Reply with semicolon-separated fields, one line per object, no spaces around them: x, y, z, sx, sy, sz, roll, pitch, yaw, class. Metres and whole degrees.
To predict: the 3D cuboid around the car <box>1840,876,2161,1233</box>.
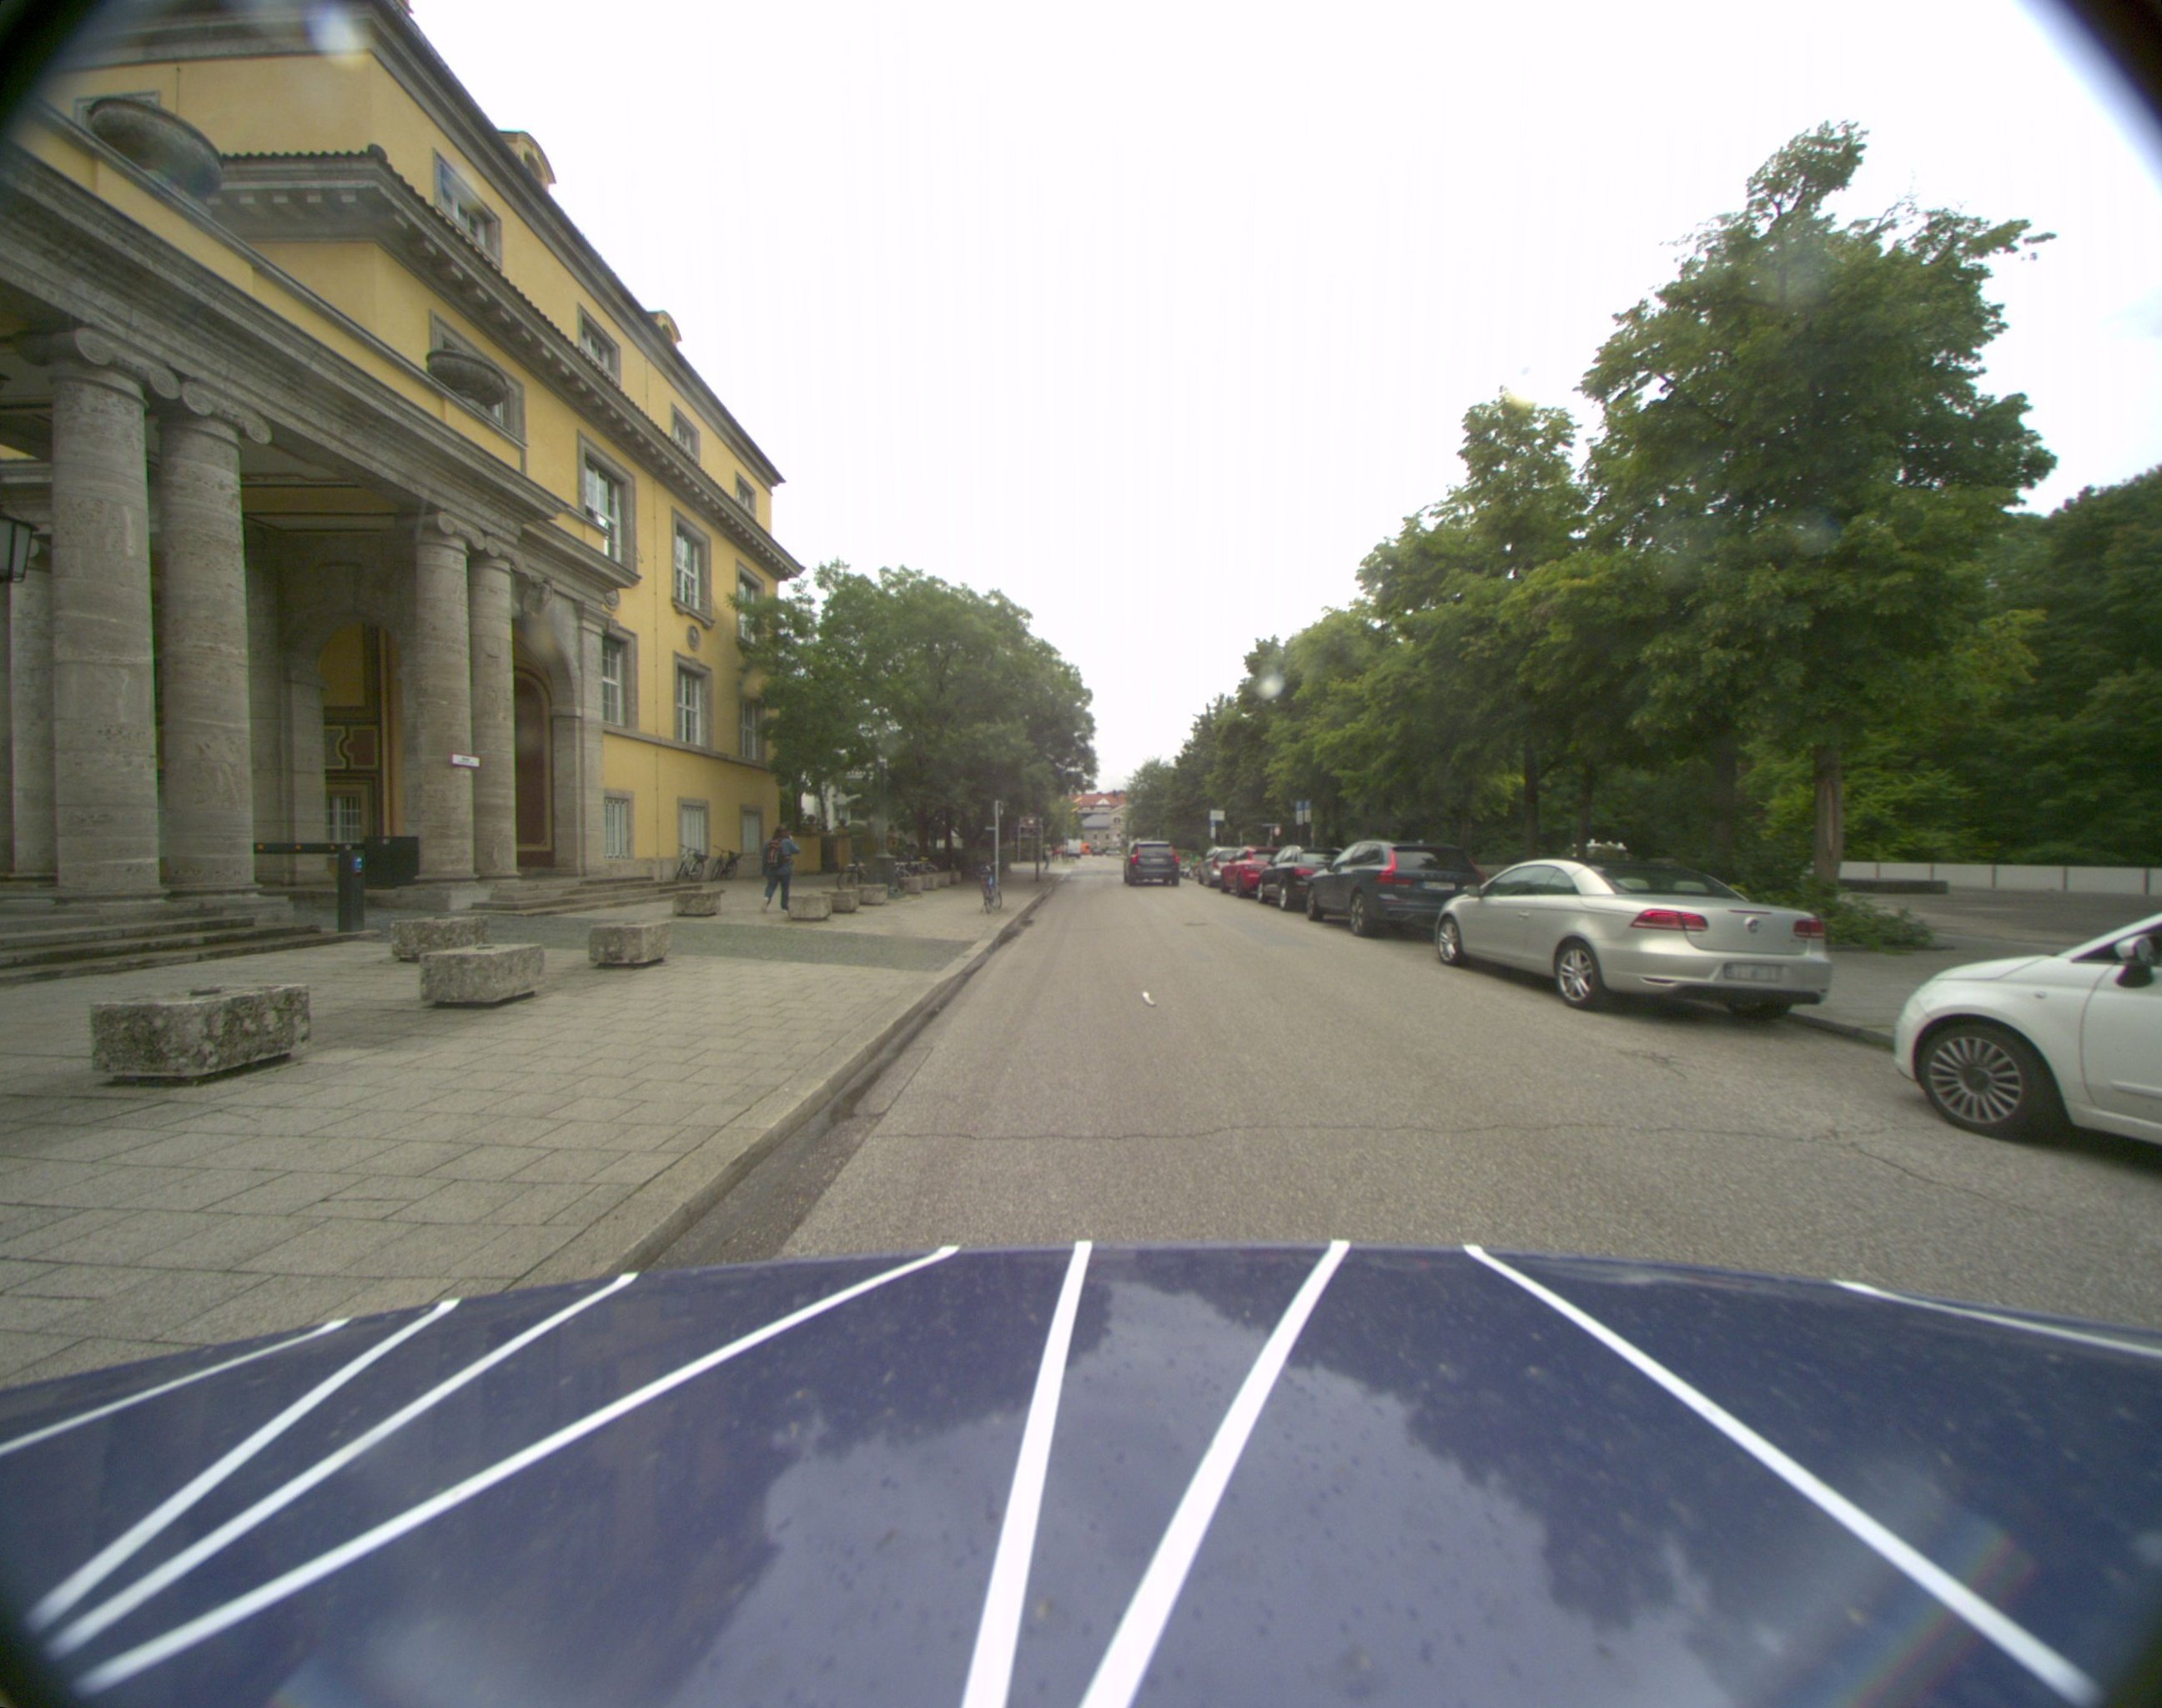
5.374;0.906;2.806;1.547;1.462;3.552;2;1;1;car

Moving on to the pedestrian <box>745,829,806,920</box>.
-6.072;0.388;15.164;0.790;1.736;1.055;1;1;0;pedestrian

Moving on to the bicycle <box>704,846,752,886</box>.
-11.996;0.385;25.879;0.601;1.299;2.164;1;1;1;bicycle

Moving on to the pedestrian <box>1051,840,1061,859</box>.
-2.421;-0.465;74.437;0.777;1.855;0.996;-3;2;-7;pedestrian

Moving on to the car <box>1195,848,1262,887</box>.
5.875;0.491;30.786;1.998;1.452;4.364;1;1;2;car

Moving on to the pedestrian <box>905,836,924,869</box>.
-9.573;-0.103;43.711;0.782;1.855;1.035;3;2;1;pedestrian

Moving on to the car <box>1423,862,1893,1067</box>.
5.392;0.876;7.976;1.762;1.392;4.217;3;1;2;car

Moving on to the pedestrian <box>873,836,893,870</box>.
-10.536;-0.058;40.493;0.741;1.734;0.841;3;2;1;pedestrian

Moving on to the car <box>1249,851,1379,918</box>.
5.722;0.674;19.310;1.998;1.452;4.647;1;1;2;car

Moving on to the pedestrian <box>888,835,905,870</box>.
-9.825;-0.085;40.482;0.659;1.855;0.820;3;2;1;pedestrian

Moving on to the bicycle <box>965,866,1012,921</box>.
-2.126;0.877;17.744;0.762;1.094;2.263;2;1;0;bicycle

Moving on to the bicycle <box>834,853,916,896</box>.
-6.198;0.623;22.935;2.265;1.088;0.601;5;1;-10;bicycle

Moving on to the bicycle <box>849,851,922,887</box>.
-6.566;0.498;25.643;2.265;1.018;0.601;5;1;-10;bicycle

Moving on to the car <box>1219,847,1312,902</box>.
5.720;0.567;24.060;1.998;1.535;4.364;1;1;2;car

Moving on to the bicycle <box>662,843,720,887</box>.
-12.037;0.308;23.520;0.601;1.299;2.264;1;1;1;bicycle

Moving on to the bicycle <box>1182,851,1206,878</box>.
5.603;0.523;37.633;0.574;1.275;1.421;-1;1;33;bicycle

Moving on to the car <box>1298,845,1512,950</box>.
5.574;0.642;13.836;1.998;1.574;4.521;1;1;1;car

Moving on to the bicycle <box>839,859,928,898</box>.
-5.626;0.692;21.753;2.370;1.000;0.677;2;1;-8;bicycle

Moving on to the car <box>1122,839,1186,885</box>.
2.862;0.256;30.986;1.965;1.672;4.910;2;1;-2;car

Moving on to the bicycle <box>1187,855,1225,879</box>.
5.934;0.620;36.103;1.700;1.101;0.598;-1;2;-7;bicycle

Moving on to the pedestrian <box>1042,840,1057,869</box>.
-1.898;0.044;46.307;0.798;1.722;0.660;-3;2;0;pedestrian

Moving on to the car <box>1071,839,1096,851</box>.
0.578;-2.024;169.072;4.973;2.521;2.577;-1;2;44;car

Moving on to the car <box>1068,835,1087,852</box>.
-0.567;-1.462;106.222;2.236;2.289;4.728;-3;2;-4;car

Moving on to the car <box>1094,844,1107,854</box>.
3.685;-0.949;144.204;2.222;1.840;4.729;-3;2;1;car

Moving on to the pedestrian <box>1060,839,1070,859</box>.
-1.555;-0.516;74.655;0.777;1.855;0.997;-3;2;-5;pedestrian

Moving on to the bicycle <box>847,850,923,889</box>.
-6.358;0.504;24.728;2.265;1.053;0.601;5;1;-10;bicycle

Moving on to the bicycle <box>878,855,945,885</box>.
-6.198;0.580;27.795;2.261;1.005;0.602;2;1;3;bicycle
